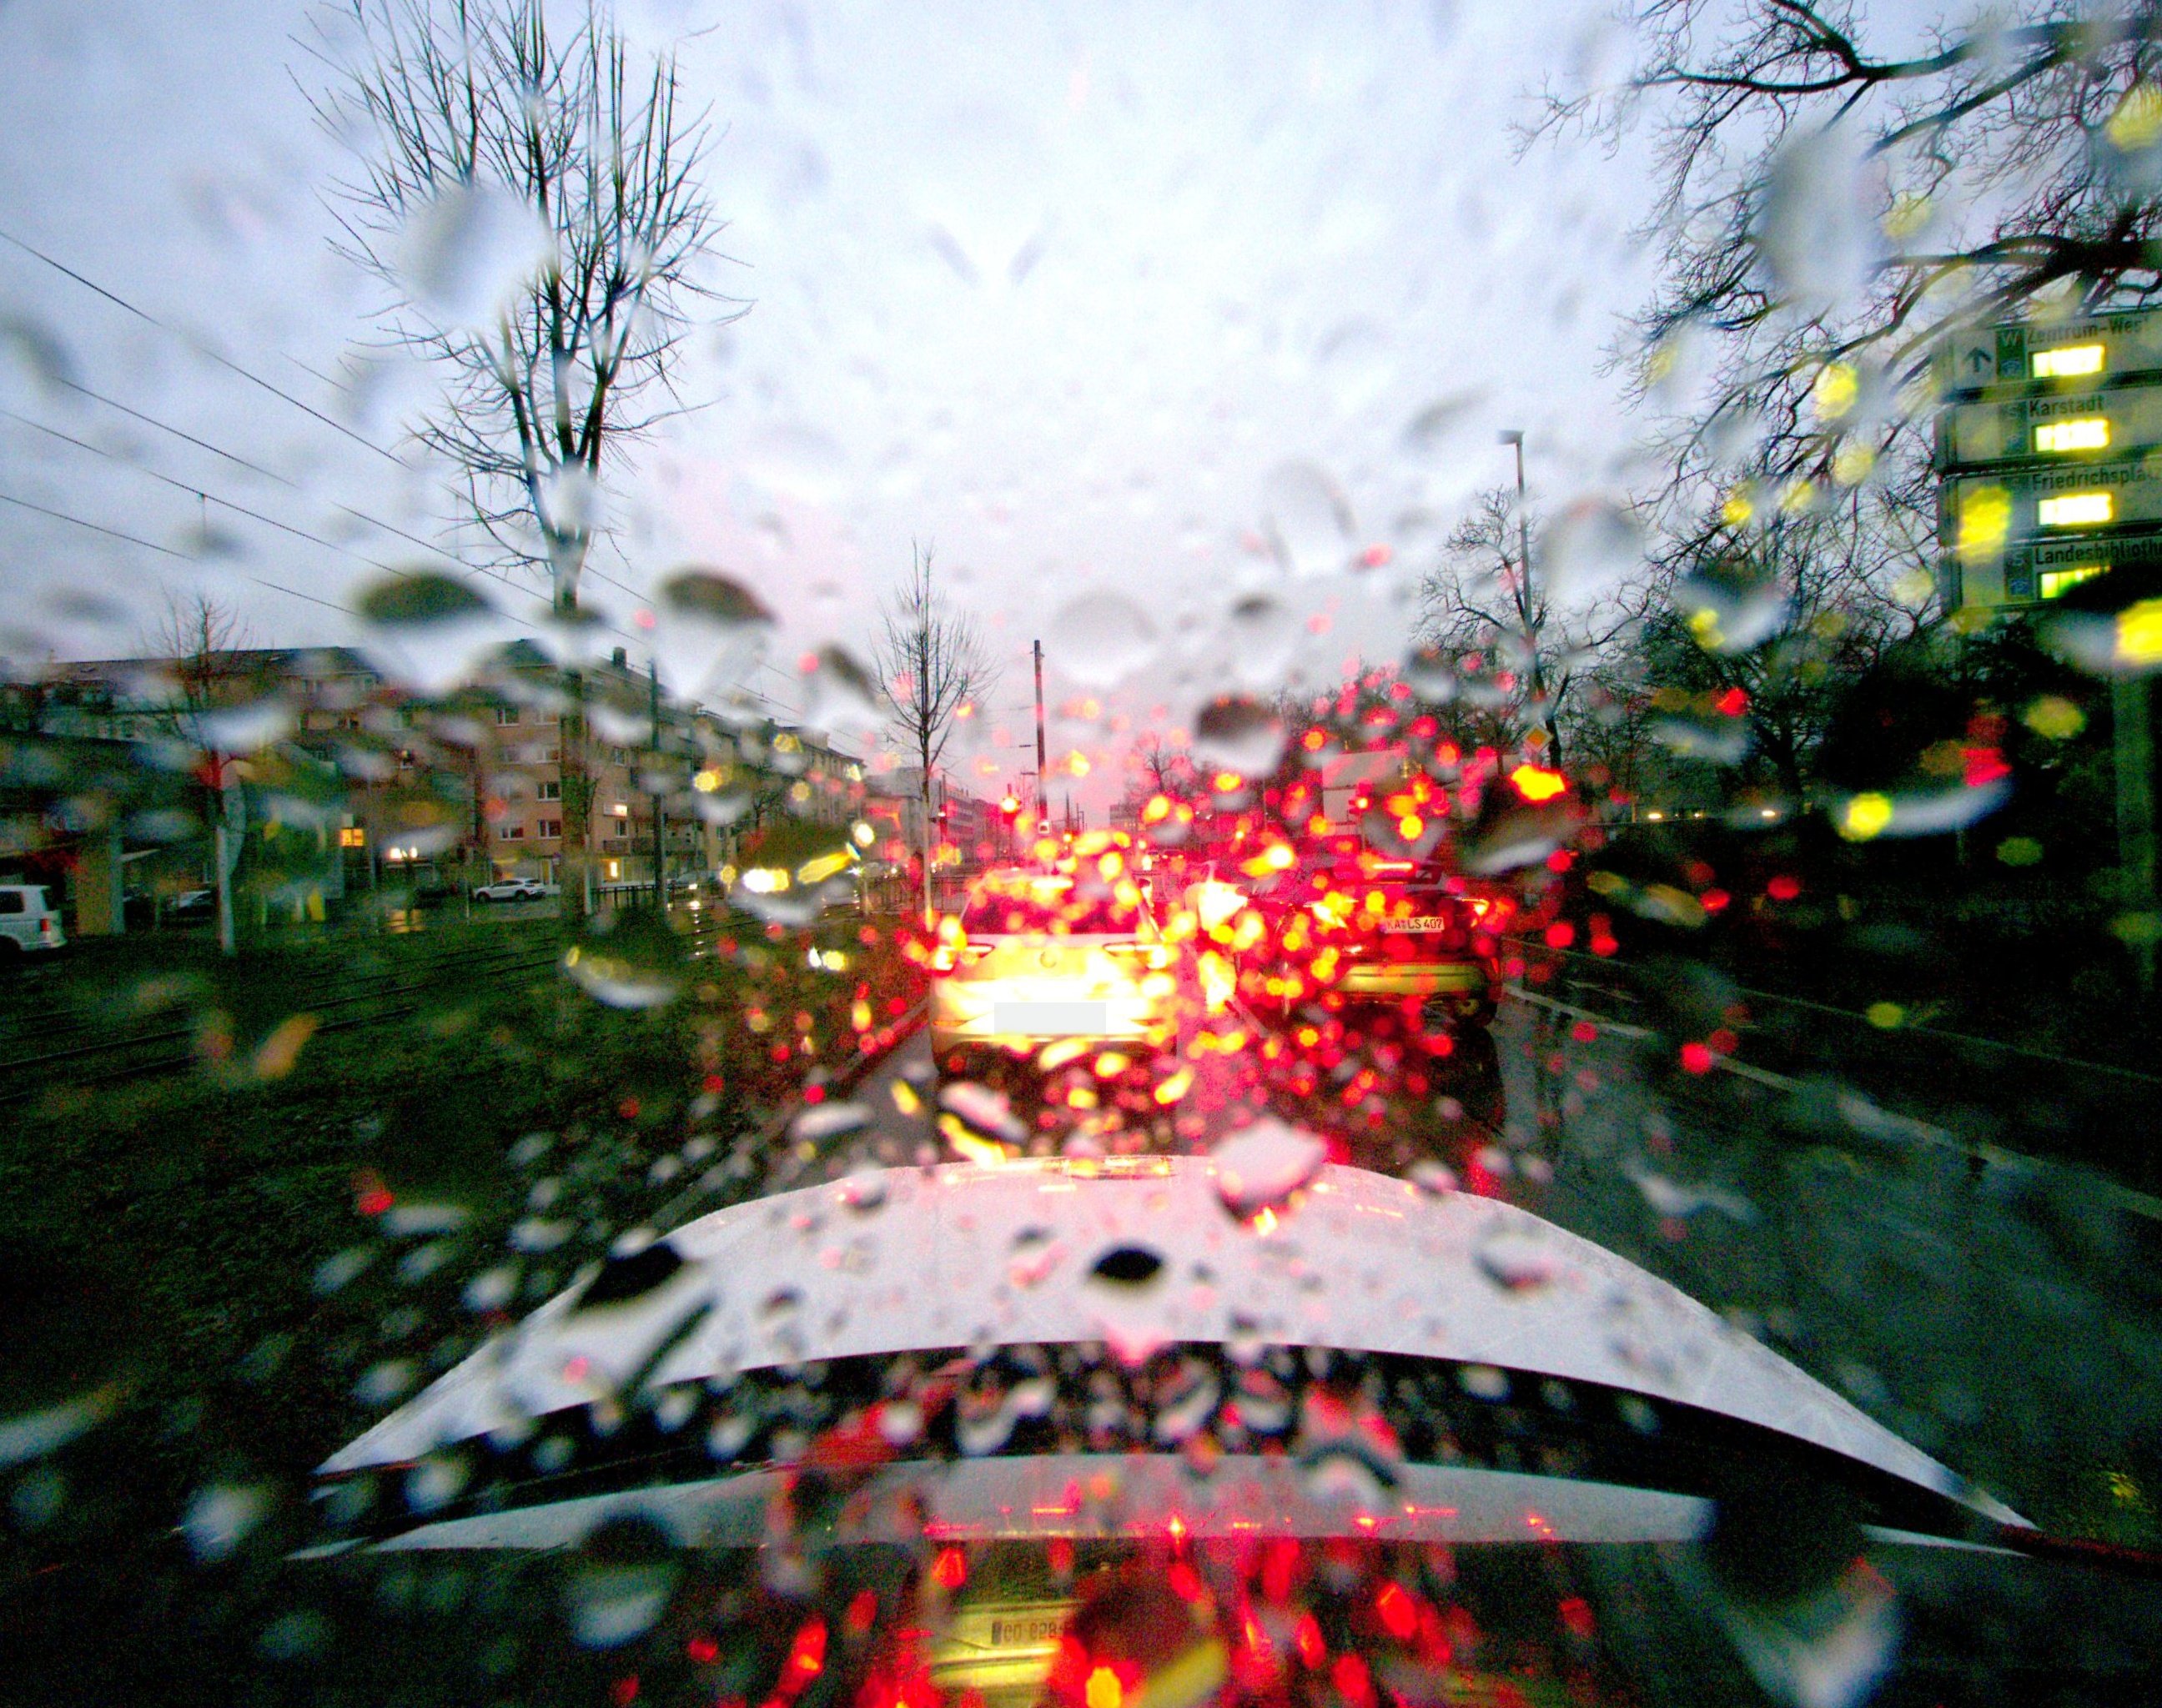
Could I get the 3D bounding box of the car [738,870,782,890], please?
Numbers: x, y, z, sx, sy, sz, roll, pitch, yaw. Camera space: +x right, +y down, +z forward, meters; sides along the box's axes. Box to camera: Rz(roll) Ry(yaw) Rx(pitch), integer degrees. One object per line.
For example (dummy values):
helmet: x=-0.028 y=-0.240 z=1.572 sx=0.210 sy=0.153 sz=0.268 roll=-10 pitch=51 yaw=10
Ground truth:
car: x=-22.145 y=1.778 z=56.349 sx=1.686 sy=1.277 sz=3.534 roll=-2 pitch=0 yaw=-1

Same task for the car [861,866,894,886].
car: x=-18.275 y=1.945 z=73.339 sx=1.860 sy=1.577 sz=4.002 roll=-2 pitch=0 yaw=2

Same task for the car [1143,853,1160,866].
car: x=8.169 y=0.672 z=94.785 sx=1.731 sy=1.419 sz=3.705 roll=-2 pitch=0 yaw=2

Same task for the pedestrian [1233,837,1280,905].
pedestrian: x=5.405 y=0.505 z=25.134 sx=0.962 sy=2.013 sz=1.001 roll=-2 pitch=0 yaw=-21

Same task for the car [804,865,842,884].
car: x=-18.794 y=1.462 z=59.415 sx=1.688 sy=1.277 sz=4.142 roll=-2 pitch=0 yaw=-4

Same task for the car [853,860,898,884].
car: x=-14.001 y=1.214 z=55.751 sx=1.986 sy=1.602 sz=4.001 roll=0 pitch=0 yaw=1

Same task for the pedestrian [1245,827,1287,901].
pedestrian: x=5.159 y=0.274 z=22.792 sx=0.954 sy=2.013 sz=1.009 roll=-2 pitch=0 yaw=4

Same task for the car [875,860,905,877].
car: x=-19.514 y=1.472 z=83.243 sx=1.942 sy=1.602 sz=4.002 roll=0 pitch=0 yaw=2

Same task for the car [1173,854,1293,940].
car: x=2.751 y=0.724 z=15.486 sx=1.738 sy=1.433 sz=3.733 roll=0 pitch=0 yaw=2

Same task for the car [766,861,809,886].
car: x=-24.032 y=1.581 z=66.804 sx=1.986 sy=2.014 sz=4.001 roll=0 pitch=0 yaw=1

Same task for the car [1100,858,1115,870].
car: x=3.434 y=1.279 z=105.372 sx=1.731 sy=1.419 sz=4.396 roll=-2 pitch=0 yaw=2

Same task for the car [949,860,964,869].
car: x=-22.406 y=1.925 z=146.758 sx=1.942 sy=1.602 sz=4.002 roll=0 pitch=0 yaw=2

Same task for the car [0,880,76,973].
car: x=-28.655 y=1.835 z=19.952 sx=4.859 sy=2.244 sz=1.975 roll=0 pitch=0 yaw=-44

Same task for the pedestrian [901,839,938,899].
pedestrian: x=-5.635 y=0.510 z=28.367 sx=1.010 sy=2.013 sz=0.953 roll=-2 pitch=0 yaw=-26

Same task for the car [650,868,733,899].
car: x=-18.929 y=1.403 z=39.809 sx=1.852 sy=1.332 sz=4.317 roll=0 pitch=0 yaw=2

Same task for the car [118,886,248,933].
car: x=-43.079 y=2.630 z=39.212 sx=1.886 sy=2.014 sz=3.876 roll=0 pitch=0 yaw=2

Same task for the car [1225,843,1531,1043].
car: x=2.671 y=0.703 z=8.332 sx=1.793 sy=1.511 sz=3.897 roll=-2 pitch=0 yaw=2

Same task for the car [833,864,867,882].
car: x=-21.861 y=1.759 z=77.095 sx=1.942 sy=1.602 sz=4.002 roll=0 pitch=0 yaw=2

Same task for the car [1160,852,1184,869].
car: x=7.991 y=0.572 z=71.574 sx=1.731 sy=1.419 sz=3.705 roll=-2 pitch=0 yaw=2

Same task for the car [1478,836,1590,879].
car: x=20.891 y=0.166 z=37.756 sx=4.237 sy=1.943 sz=2.009 roll=0 pitch=0 yaw=18

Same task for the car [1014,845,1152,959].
car: x=0.111 y=0.634 z=13.214 sx=1.792 sy=1.466 sz=4.588 roll=-2 pitch=0 yaw=2

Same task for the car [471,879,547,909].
car: x=-38.554 y=2.694 z=55.001 sx=3.743 sy=1.942 sz=1.838 roll=0 pitch=0 yaw=-6

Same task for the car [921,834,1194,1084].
car: x=-0.179 y=0.643 z=7.094 sx=1.688 sy=1.533 sz=3.998 roll=-1 pitch=0 yaw=-1

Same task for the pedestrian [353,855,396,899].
pedestrian: x=-34.317 y=1.101 z=39.568 sx=1.274 sy=2.013 sz=1.000 roll=-2 pitch=0 yaw=-22
